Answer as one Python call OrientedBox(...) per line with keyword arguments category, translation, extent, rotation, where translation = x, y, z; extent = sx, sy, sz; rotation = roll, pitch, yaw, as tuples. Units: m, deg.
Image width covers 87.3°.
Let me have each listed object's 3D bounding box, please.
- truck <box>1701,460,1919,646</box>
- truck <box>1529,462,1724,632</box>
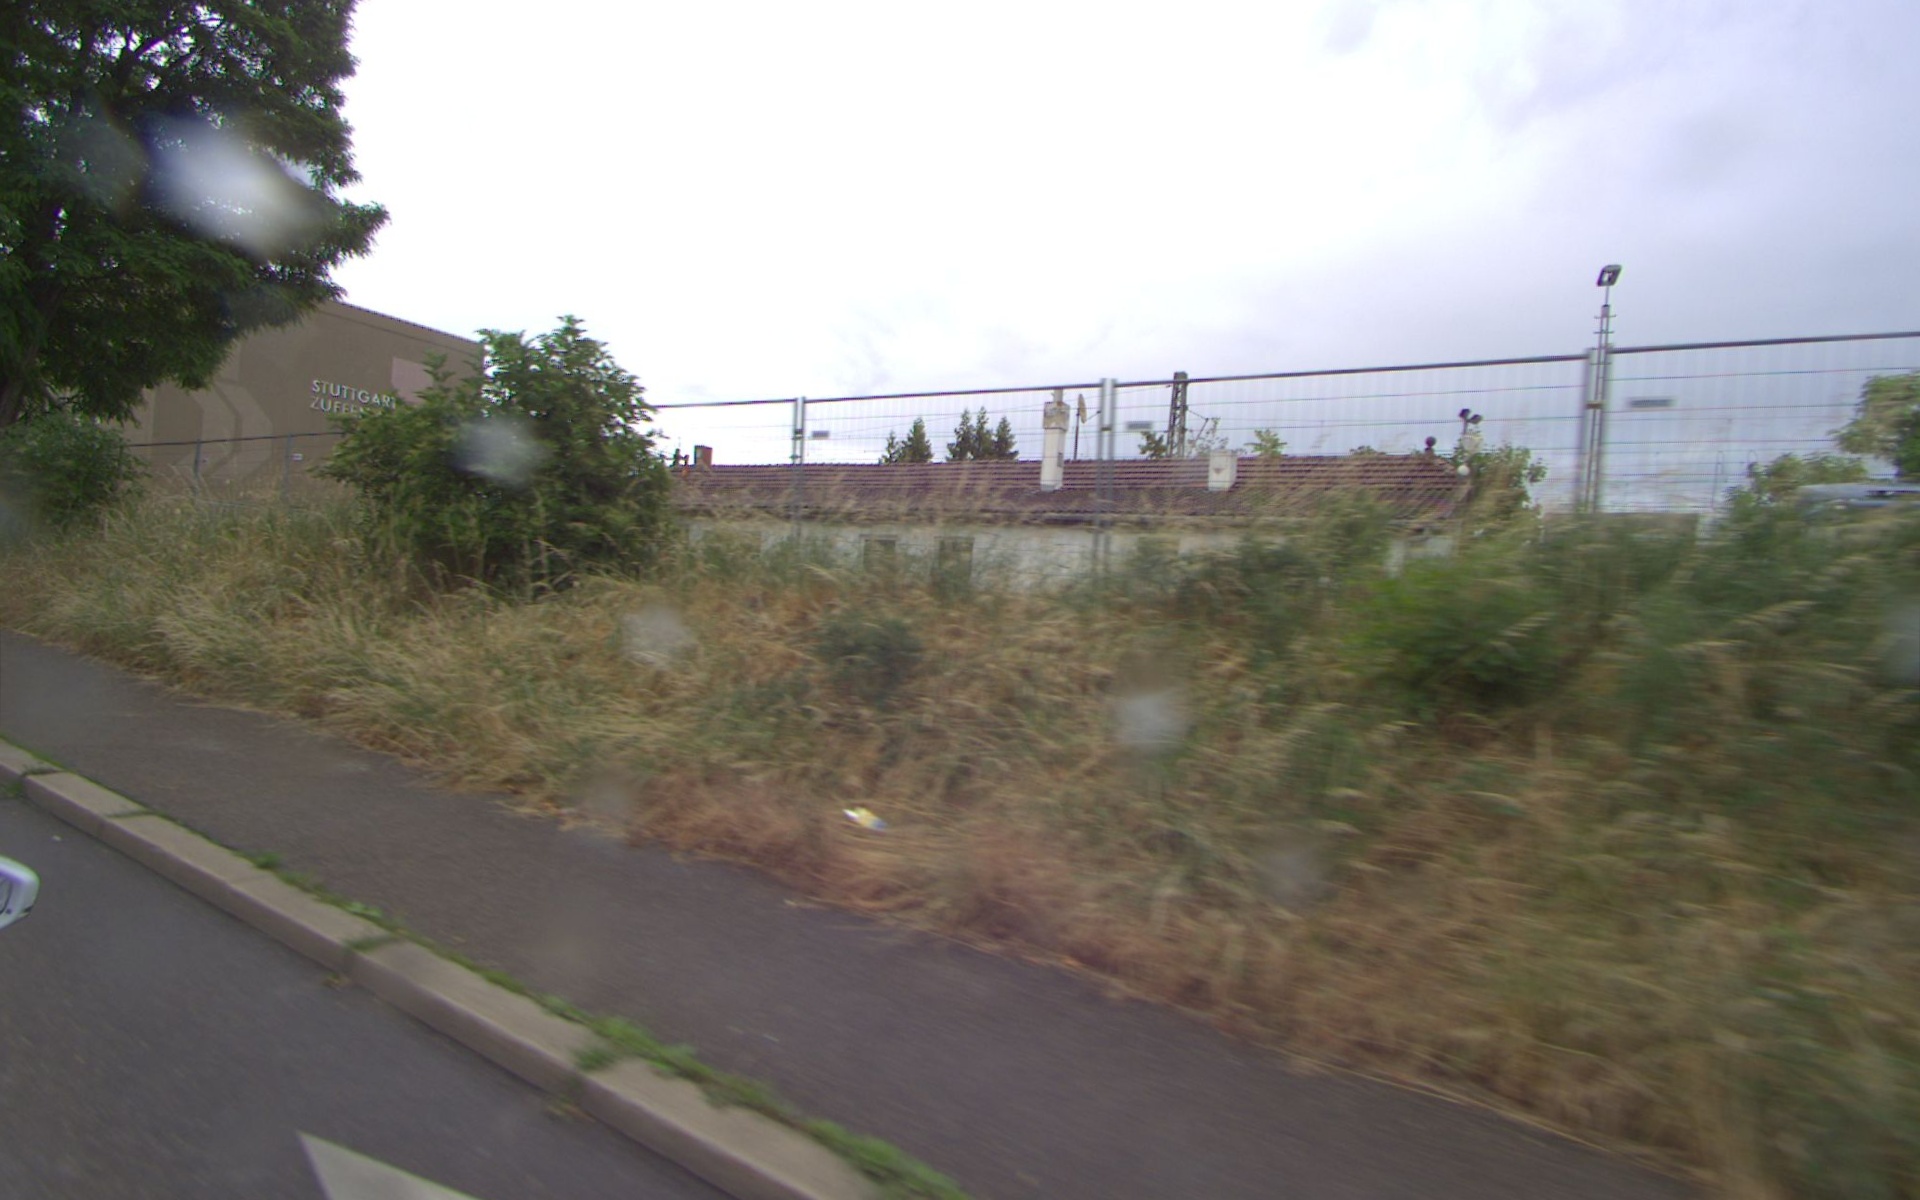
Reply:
OrientedBox(category="truck", translation=(16.679, -0.620, 19.435), extent=(2.543, 2.648, 8.311), rotation=(4, -1, 29))
OrientedBox(category="truck", translation=(13.723, -0.860, 21.306), extent=(2.587, 2.649, 8.014), rotation=(4, -1, 29))
